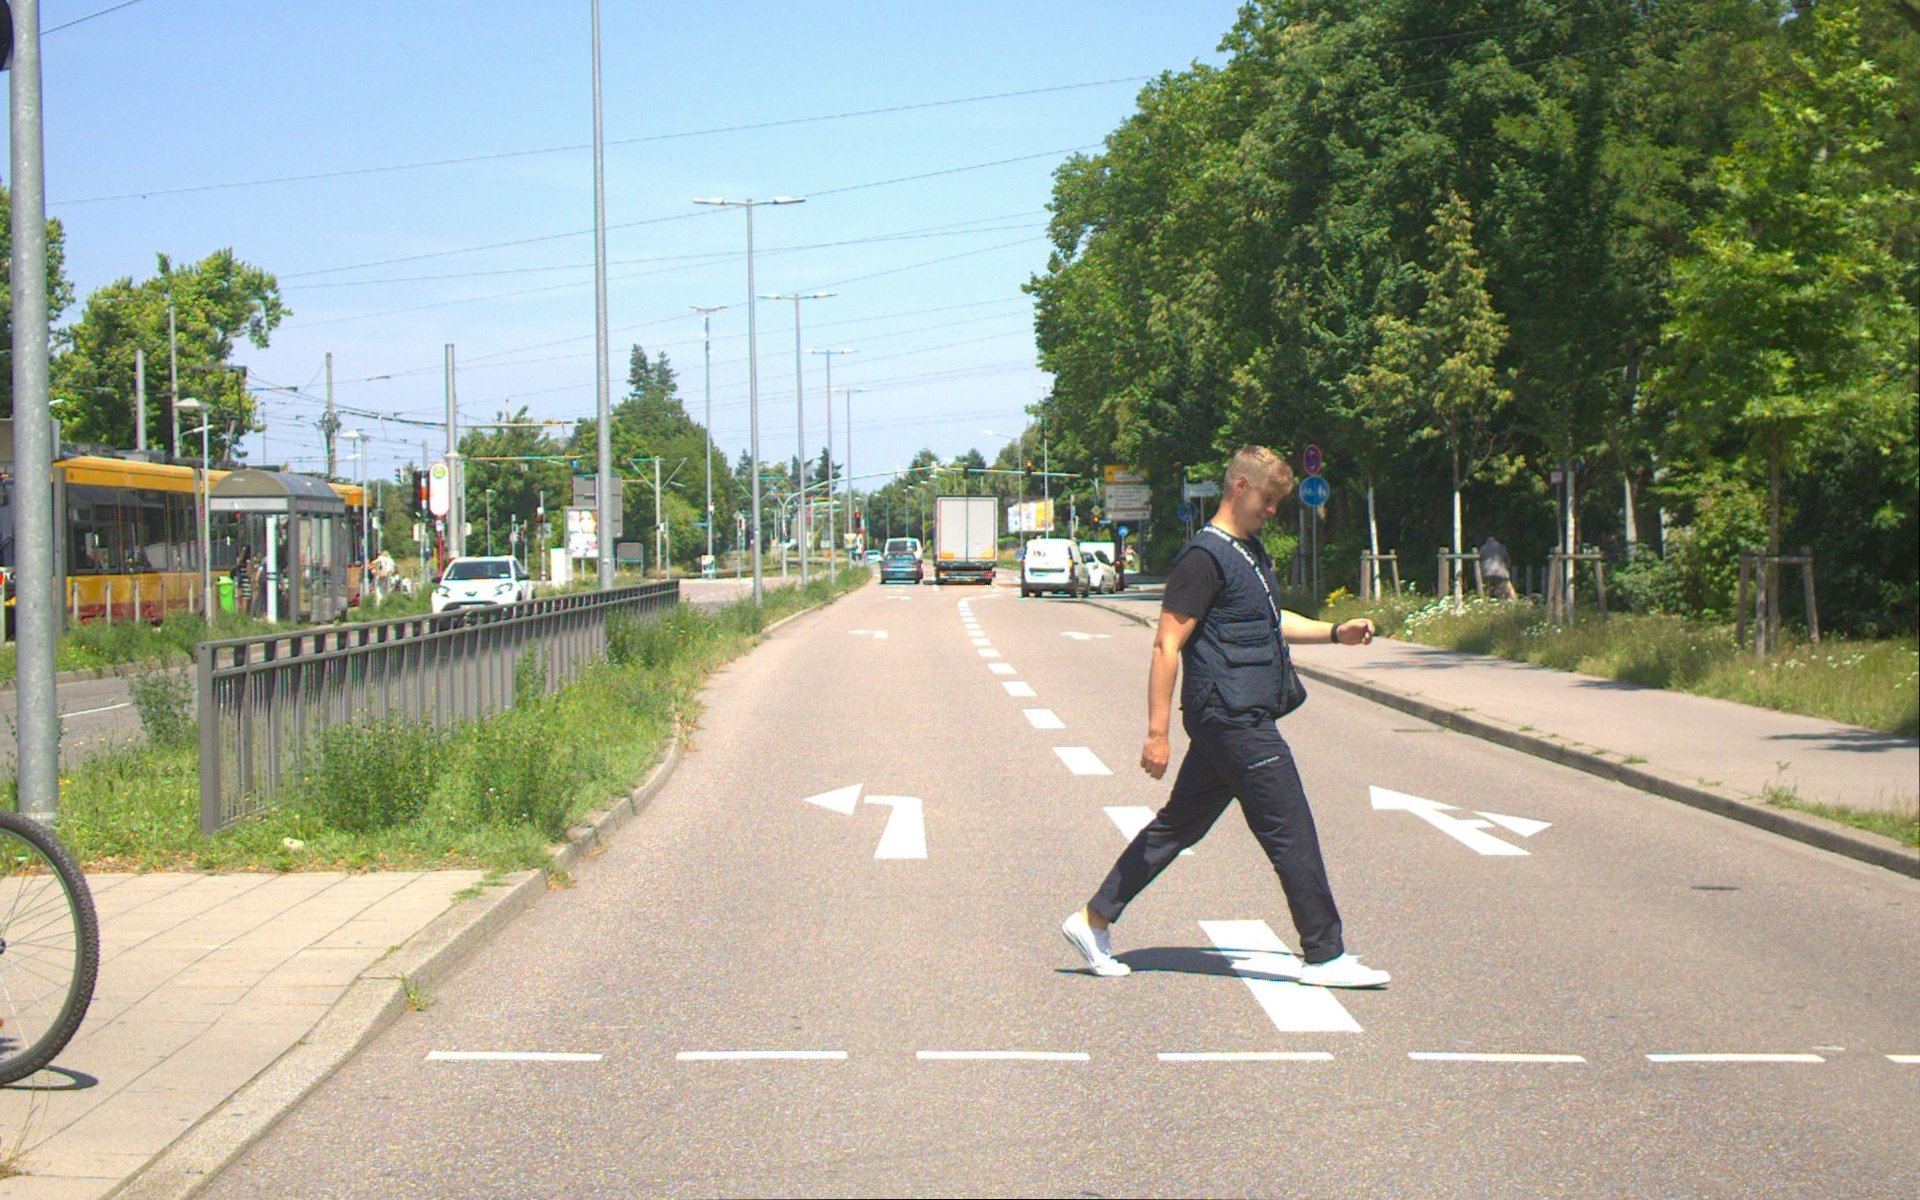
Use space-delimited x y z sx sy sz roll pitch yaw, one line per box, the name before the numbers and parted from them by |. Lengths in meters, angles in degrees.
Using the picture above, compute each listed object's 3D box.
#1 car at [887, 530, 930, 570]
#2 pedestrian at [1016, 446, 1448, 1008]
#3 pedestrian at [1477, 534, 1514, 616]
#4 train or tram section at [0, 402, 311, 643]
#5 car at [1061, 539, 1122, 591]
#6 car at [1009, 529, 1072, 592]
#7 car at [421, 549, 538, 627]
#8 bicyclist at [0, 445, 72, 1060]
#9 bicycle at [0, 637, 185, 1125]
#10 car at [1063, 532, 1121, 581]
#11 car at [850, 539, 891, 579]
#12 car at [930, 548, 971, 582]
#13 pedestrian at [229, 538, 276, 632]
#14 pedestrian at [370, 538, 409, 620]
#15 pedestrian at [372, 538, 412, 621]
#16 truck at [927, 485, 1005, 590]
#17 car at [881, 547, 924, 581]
car | -2.463 -2.371 163.455 1.993 1.809 4.000 1 1 -1
pedestrian | 0.916 0.401 11.513 1.187 1.772 0.838 0 -1 30
pedestrian | 9.378 -0.438 60.243 0.604 1.433 0.556 0 1 6
train or tram section | -16.609 -1.401 64.543 2.931 3.776 33.090 0 1 -1
car | 4.296 -1.157 112.448 1.779 1.663 4.000 0 1 -1
car | 2.447 -1.230 105.585 1.779 1.897 4.000 0 1 -1
car | -9.634 -0.259 69.177 1.845 1.489 3.791 0 1 -1
bicyclist | -3.035 0.396 9.442 0.958 1.661 0.580 3 3 17
bicycle | -3.064 0.666 9.069 1.959 1.157 0.541 3 3 18
car | 4.546 -1.522 118.791 1.779 1.663 4.000 0 1 -1
car | -4.554 -2.084 175.168 1.993 2.007 4.000 0 1 -1
car | -0.434 -1.565 153.620 1.811 1.459 4.000 0 1 -1
pedestrian | -14.259 -0.308 69.305 0.785 1.862 0.817 0 1 -1
pedestrian | -14.097 -0.531 84.951 0.815 2.007 0.938 0 1 -1
pedestrian | -13.819 -0.514 83.657 0.815 2.007 0.938 0 1 -1
truck | 0.211 -2.640 146.112 3.205 4.344 6.561 0 1 -1
car | -2.490 -1.581 149.651 1.811 1.459 4.000 0 1 -1
